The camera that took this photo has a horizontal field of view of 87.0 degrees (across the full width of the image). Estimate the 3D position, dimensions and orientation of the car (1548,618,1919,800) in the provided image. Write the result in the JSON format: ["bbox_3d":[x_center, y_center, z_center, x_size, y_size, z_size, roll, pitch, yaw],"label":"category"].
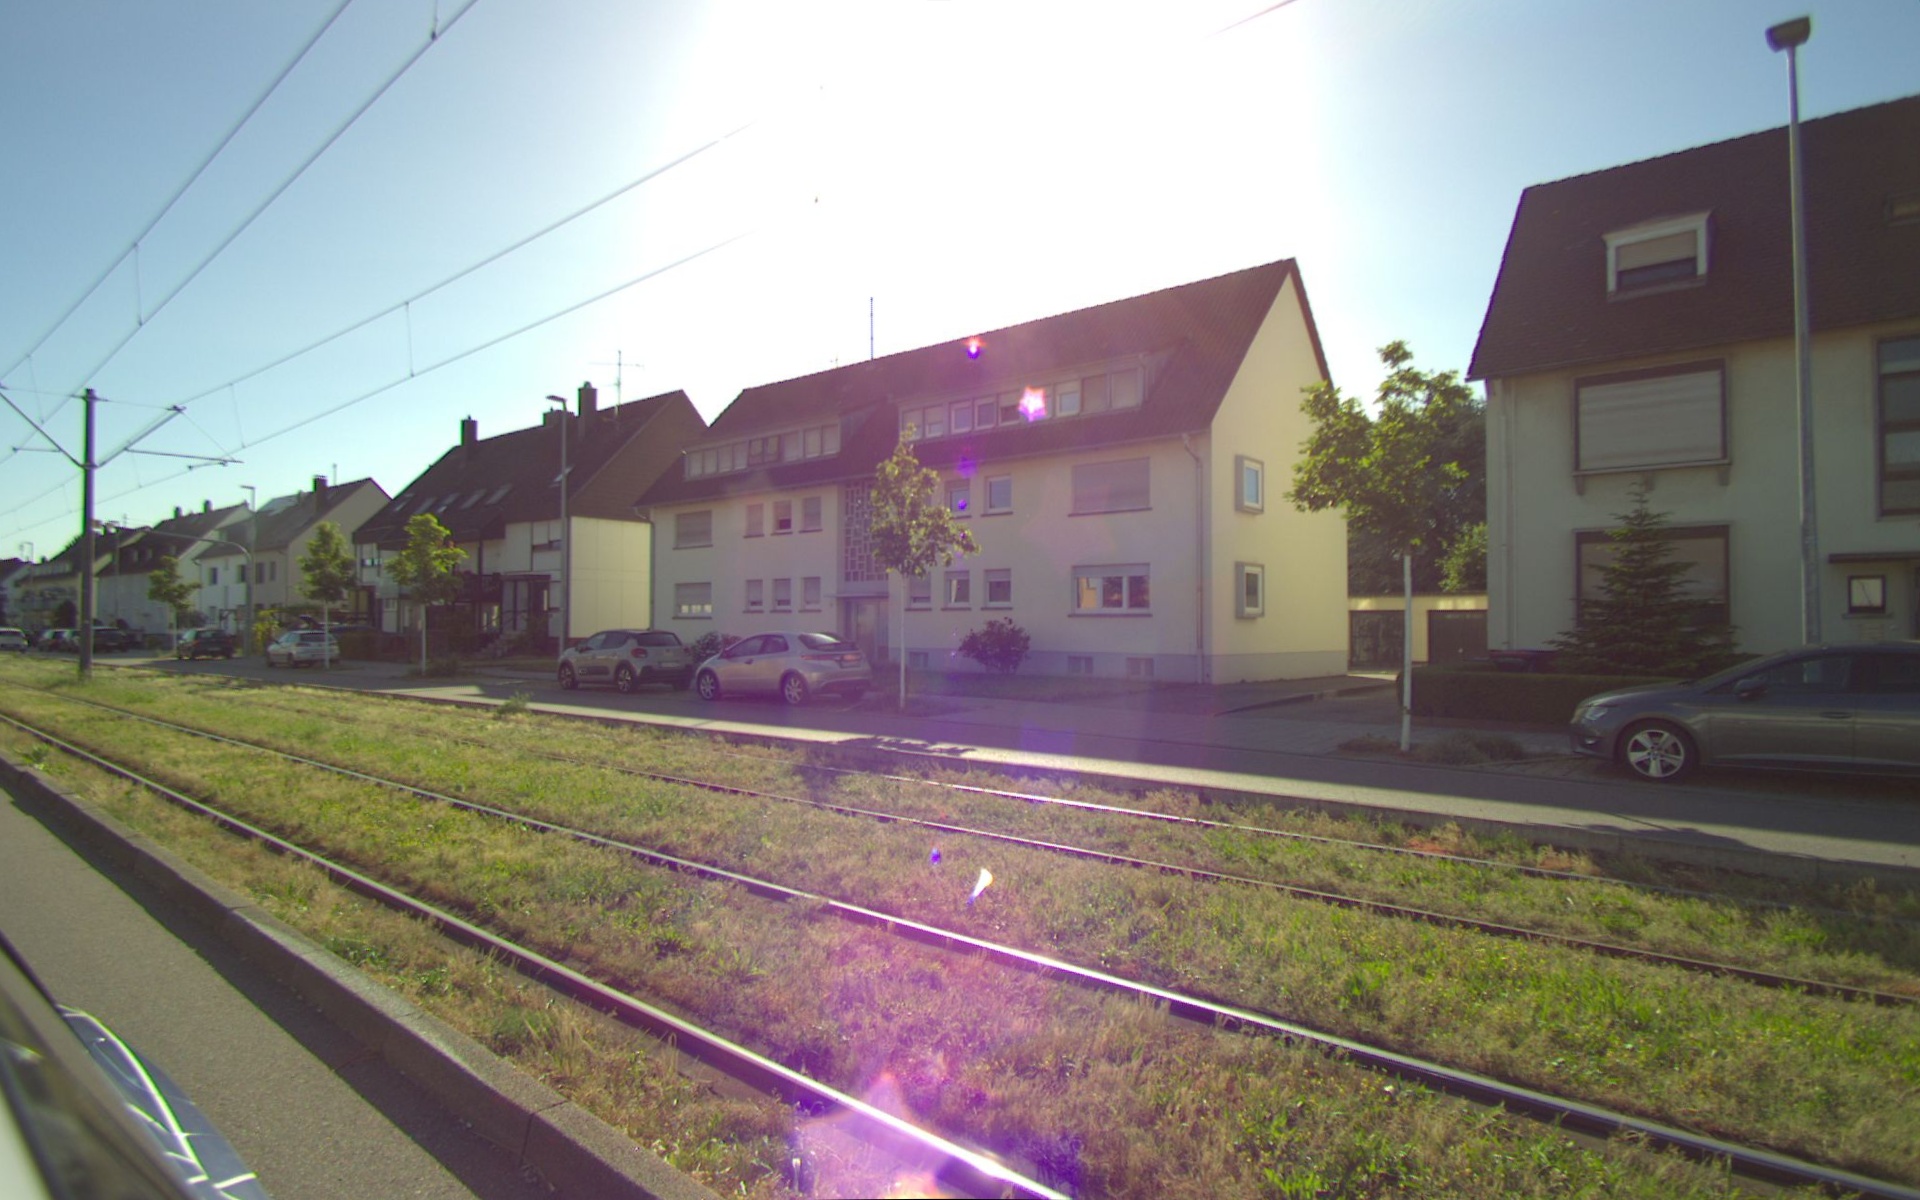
[{"bbox_3d":[8.558,0.971,9.915,4.554,1.552,1.940,-1,-1,41],"label":"car"}]

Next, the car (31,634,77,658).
[{"bbox_3d":[-60.485,3.039,67.576,4.396,1.466,1.637,-1,-1,39],"label":"car"}]

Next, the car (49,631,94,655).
[{"bbox_3d":[-56.651,2.758,64.478,3.994,1.479,1.451,-2,-3,39],"label":"car"}]

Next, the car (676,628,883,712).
[{"bbox_3d":[-3.759,1.341,20.604,4.438,1.486,1.672,-1,-1,39],"label":"car"}]

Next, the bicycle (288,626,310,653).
[{"bbox_3d":[-29.664,1.745,45.431,0.471,1.172,1.872,0,-1,-44],"label":"bicycle"}]

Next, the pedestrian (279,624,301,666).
[{"bbox_3d":[-29.991,2.008,45.296,0.676,1.829,0.611,-1,-1,31],"label":"pedestrian"}]

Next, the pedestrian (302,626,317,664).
[{"bbox_3d":[-29.972,2.060,46.637,0.544,1.701,0.625,0,-1,-35],"label":"pedestrian"}]

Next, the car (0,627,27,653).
[{"bbox_3d":[-58.442,2.419,61.740,3.676,1.487,1.672,-1,-3,39],"label":"car"}]

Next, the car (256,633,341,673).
[{"bbox_3d":[-25.912,2.034,39.582,4.099,1.447,1.641,-2,-2,39],"label":"car"}]

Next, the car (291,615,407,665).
[{"bbox_3d":[-29.448,1.891,48.882,1.786,2.096,4.415,-1,1,41],"label":"car"}]

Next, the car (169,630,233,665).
[{"bbox_3d":[-35.767,2.190,47.679,4.083,1.523,1.602,-1,-1,41],"label":"car"}]

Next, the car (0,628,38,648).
[{"bbox_3d":[-71.894,2.871,77.269,4.088,1.408,1.683,-1,-1,39],"label":"car"}]

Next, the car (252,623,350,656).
[{"bbox_3d":[-37.857,2.263,58.208,1.968,1.797,4.348,-2,-3,39],"label":"car"}]

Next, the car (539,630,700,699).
[{"bbox_3d":[-8.310,1.491,24.505,4.310,1.484,1.672,-1,-1,39],"label":"car"}]

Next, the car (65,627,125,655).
[{"bbox_3d":[-52.385,2.475,61.279,4.853,1.572,1.902,-1,-1,39],"label":"car"}]
